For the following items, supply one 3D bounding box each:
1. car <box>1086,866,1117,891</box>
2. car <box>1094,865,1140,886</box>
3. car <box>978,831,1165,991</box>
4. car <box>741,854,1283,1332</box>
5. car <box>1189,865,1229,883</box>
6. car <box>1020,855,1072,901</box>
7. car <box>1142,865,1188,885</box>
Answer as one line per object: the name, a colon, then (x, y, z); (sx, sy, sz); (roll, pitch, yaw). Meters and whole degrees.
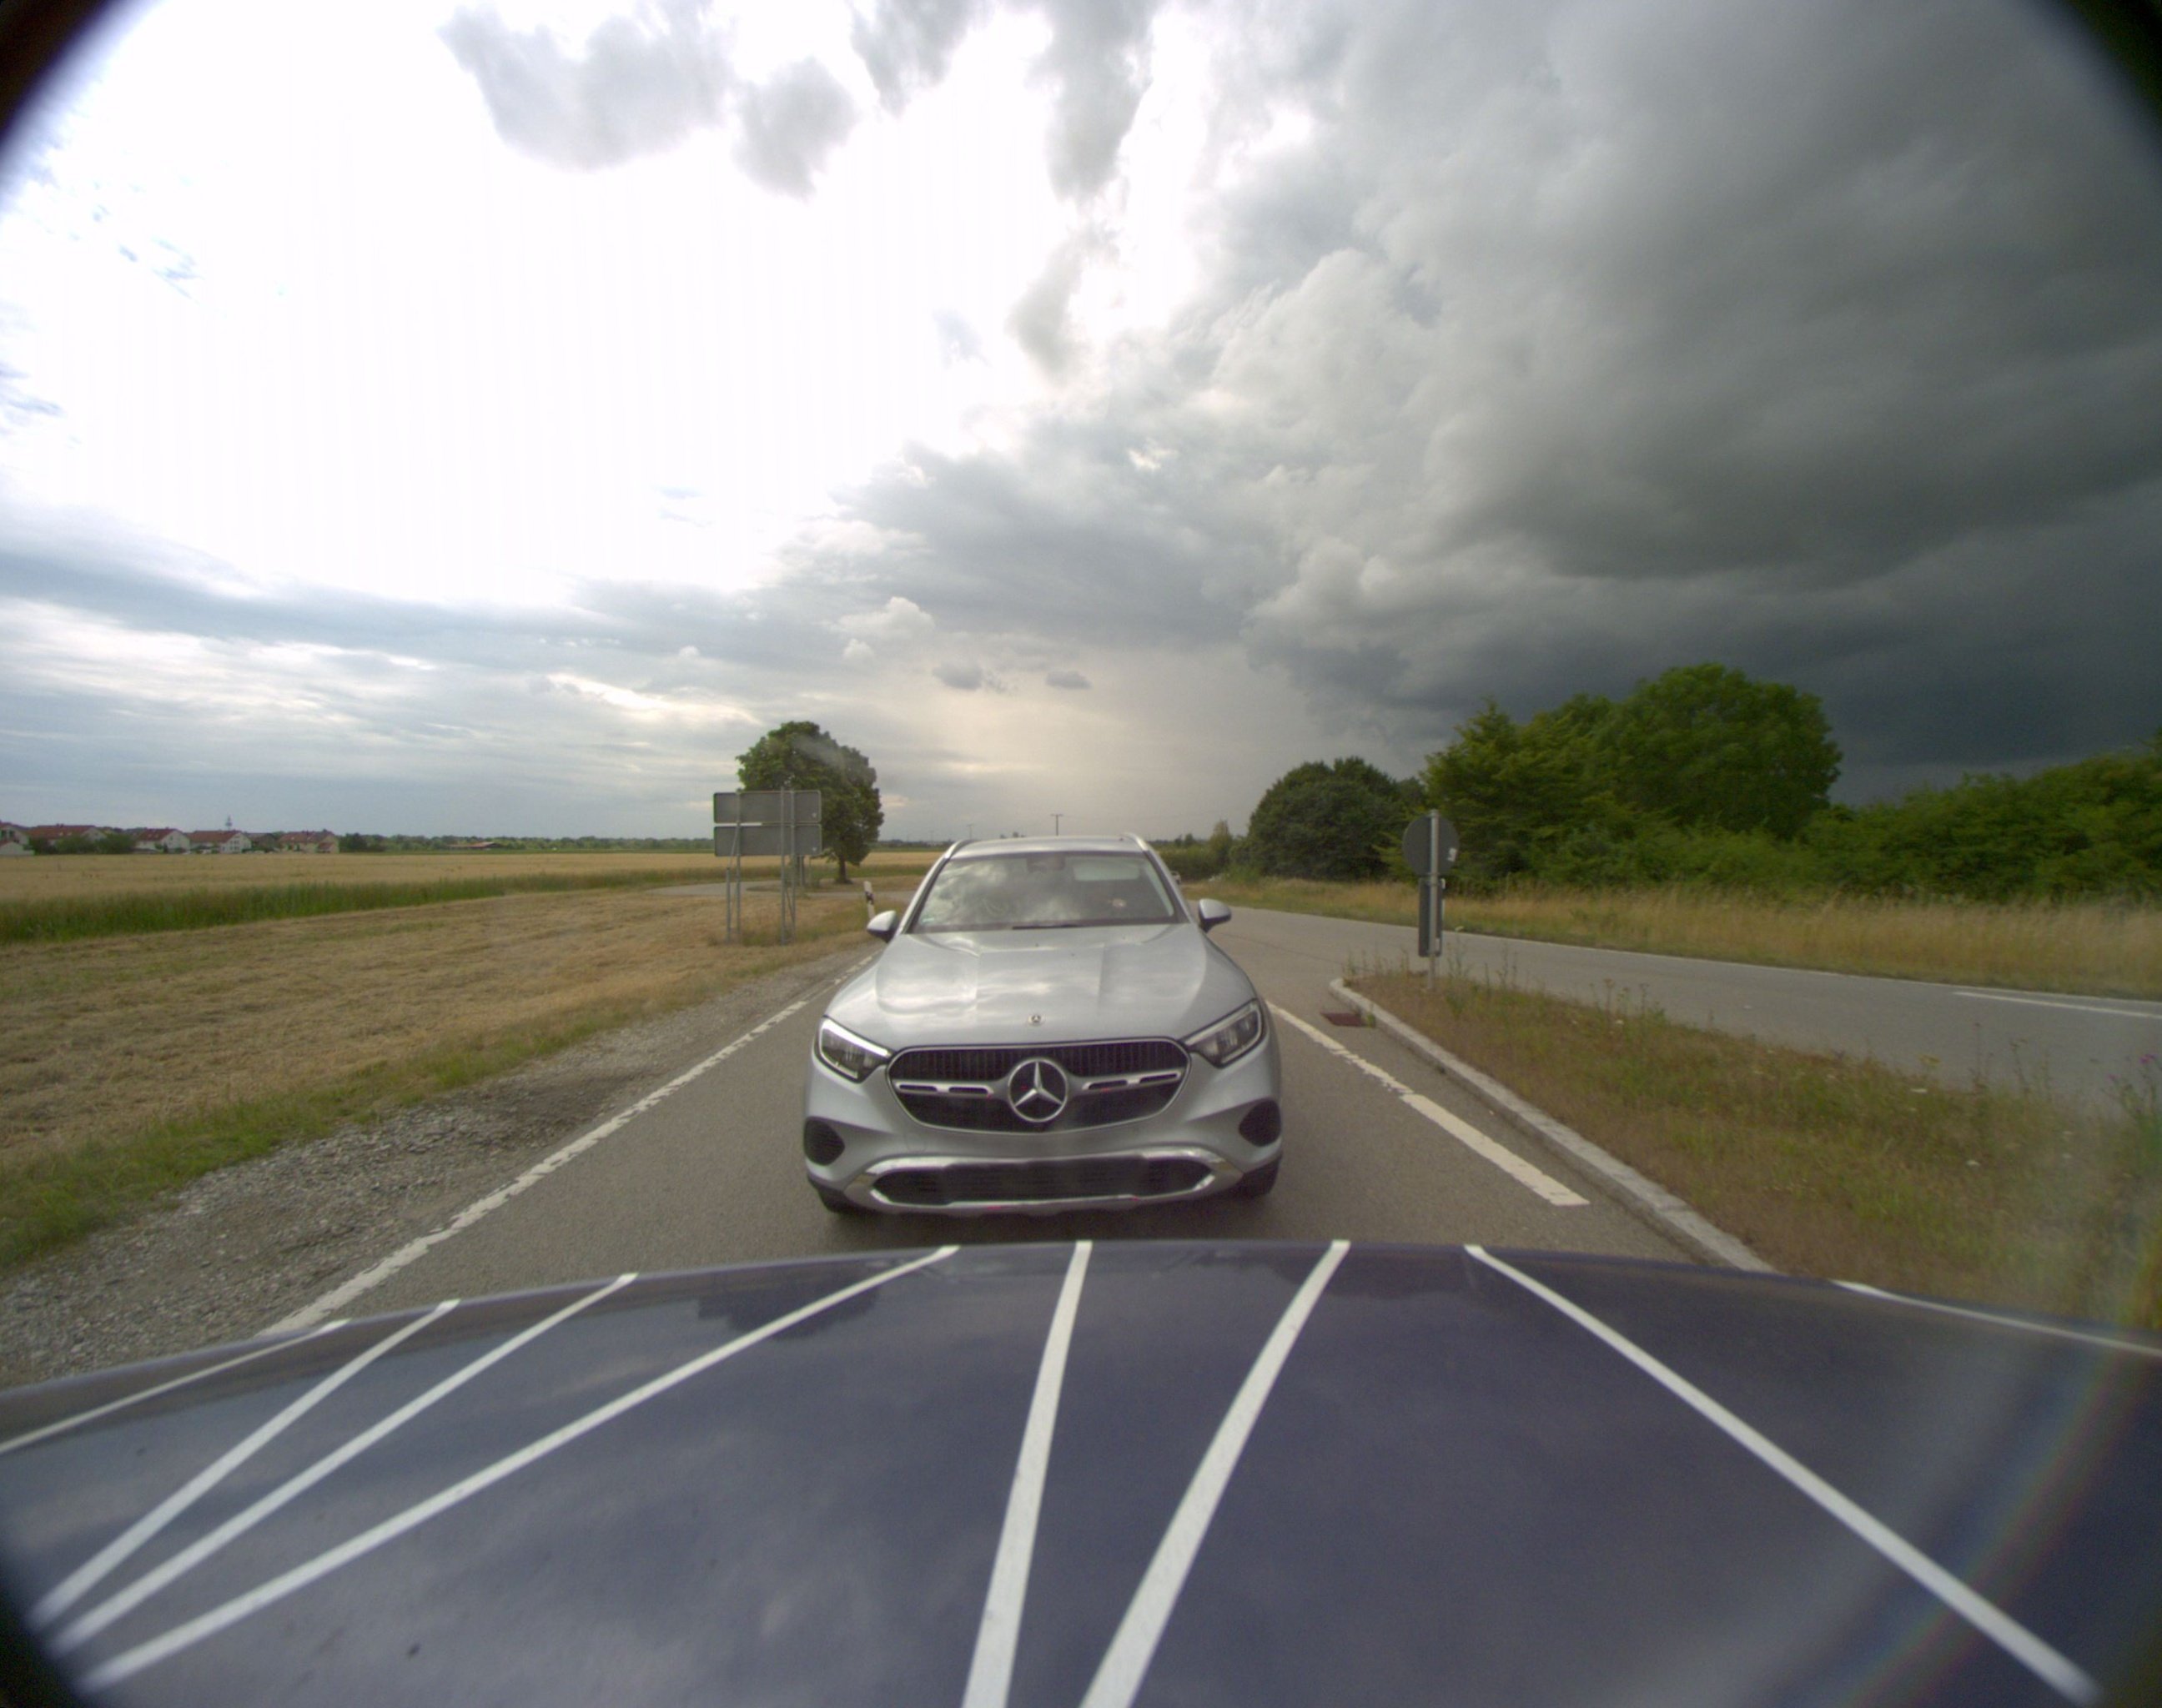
car: (1.625, 1.835, 58.678); (1.998, 1.709, 5.211); (3, 0, 4)
car: (3.298, 1.881, 67.747); (1.994, 1.709, 5.219); (3, 1, 28)
car: (-0.121, 0.637, 10.833); (1.999, 1.709, 5.208); (1, 0, 0)
car: (-0.291, 0.812, 4.819); (1.837, 1.577, 4.448); (0, 1, -2)
car: (13.926, 2.137, 82.399); (1.994, 1.710, 5.219); (3, 2, 36)
car: (-1.456, 0.929, 32.069); (1.999, 1.710, 5.206); (0, 1, -2)
car: (8.342, 2.032, 75.449); (1.994, 1.710, 5.220); (3, 2, 39)
